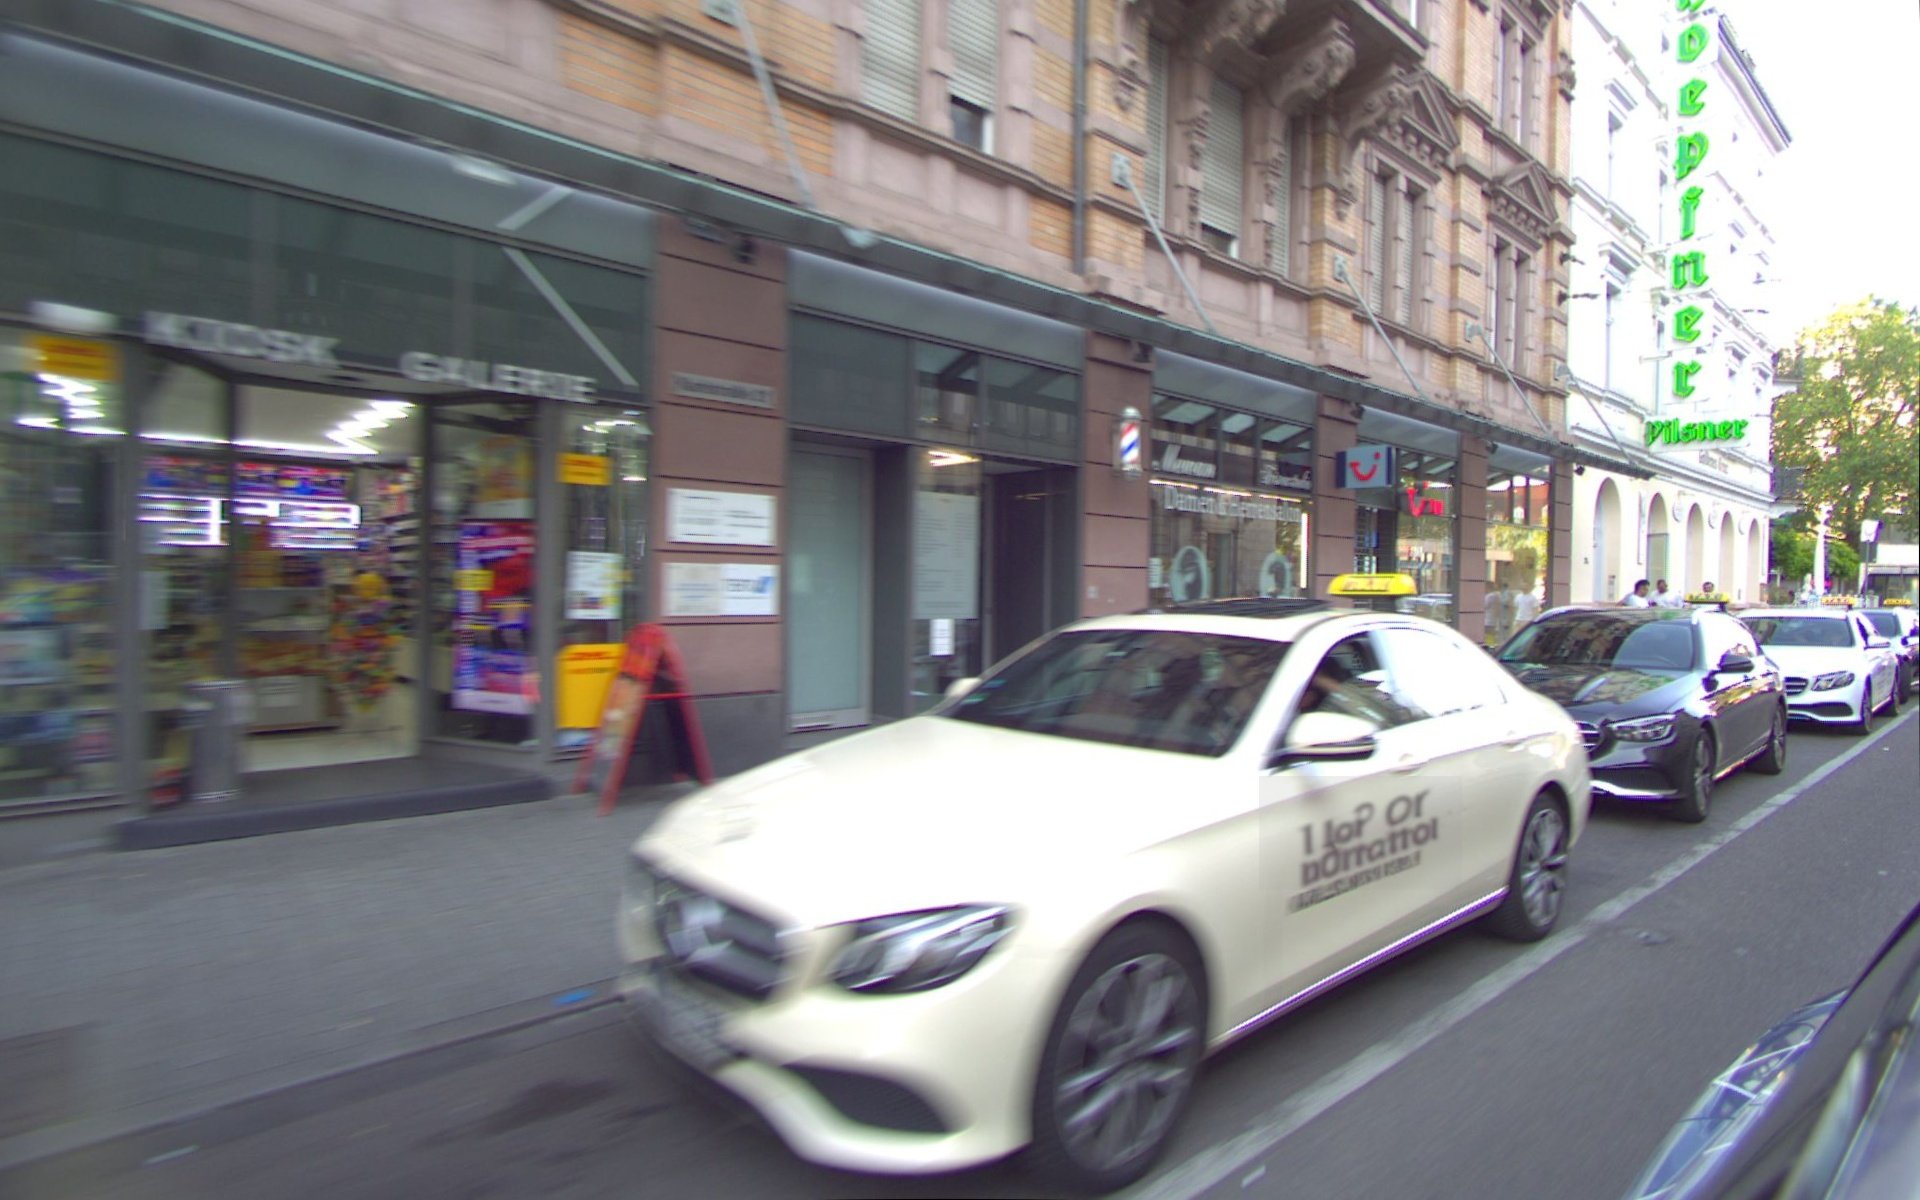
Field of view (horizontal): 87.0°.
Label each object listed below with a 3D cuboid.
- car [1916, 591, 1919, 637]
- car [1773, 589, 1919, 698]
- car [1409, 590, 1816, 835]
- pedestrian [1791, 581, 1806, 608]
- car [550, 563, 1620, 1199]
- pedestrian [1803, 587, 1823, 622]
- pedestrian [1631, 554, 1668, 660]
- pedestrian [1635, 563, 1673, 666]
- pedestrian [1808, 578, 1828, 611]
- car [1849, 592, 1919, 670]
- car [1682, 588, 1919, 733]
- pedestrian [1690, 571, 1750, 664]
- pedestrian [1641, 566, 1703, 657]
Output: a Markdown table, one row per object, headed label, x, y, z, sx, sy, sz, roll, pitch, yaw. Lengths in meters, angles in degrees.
| label | x | y | z | sx | sy | sz | roll | pitch | yaw |
| --- | --- | --- | --- | --- | --- | --- | --- | --- | --- |
| car | 31.627 | 0.438 | 31.967 | 4.470 | 1.407 | 1.700 | -1 | 3 | -42 |
| car | 15.438 | 0.641 | 17.090 | 4.362 | 1.610 | 1.736 | -1 | -1 | -39 |
| car | 5.724 | 0.693 | 8.588 | 4.738 | 1.495 | 1.728 | -1 | 0 | -42 |
| pedestrian | 41.013 | -0.259 | 49.507 | 0.523 | 1.313 | 0.490 | 0 | 0 | -41 |
| car | 0.985 | 0.699 | 4.227 | 4.696 | 1.502 | 1.808 | 0 | -1 | -42 |
| pedestrian | 32.909 | 0.174 | 39.034 | 0.482 | 1.312 | 0.531 | 0 | 0 | -41 |
| pedestrian | 11.934 | 0.113 | 17.517 | 0.373 | 1.790 | 0.448 | 4 | 3 | 45 |
| pedestrian | 12.353 | 0.254 | 18.017 | 0.373 | 1.790 | 0.653 | 4 | 3 | 45 |
| pedestrian | 34.507 | -0.227 | 40.709 | 0.528 | 1.312 | 0.485 | 1 | 0 | 34 |
| car | 20.485 | 0.595 | 21.561 | 4.613 | 1.494 | 1.808 | -1 | 0 | -42 |
| car | 11.093 | 0.654 | 13.175 | 4.782 | 1.530 | 1.734 | -1 | -1 | -42 |
| pedestrian | 14.528 | 0.324 | 19.349 | 0.476 | 1.709 | 0.622 | 2 | 4 | -24 |
| pedestrian | 14.088 | 0.213 | 20.037 | 0.542 | 1.709 | 0.761 | 0 | 5 | -42 |
